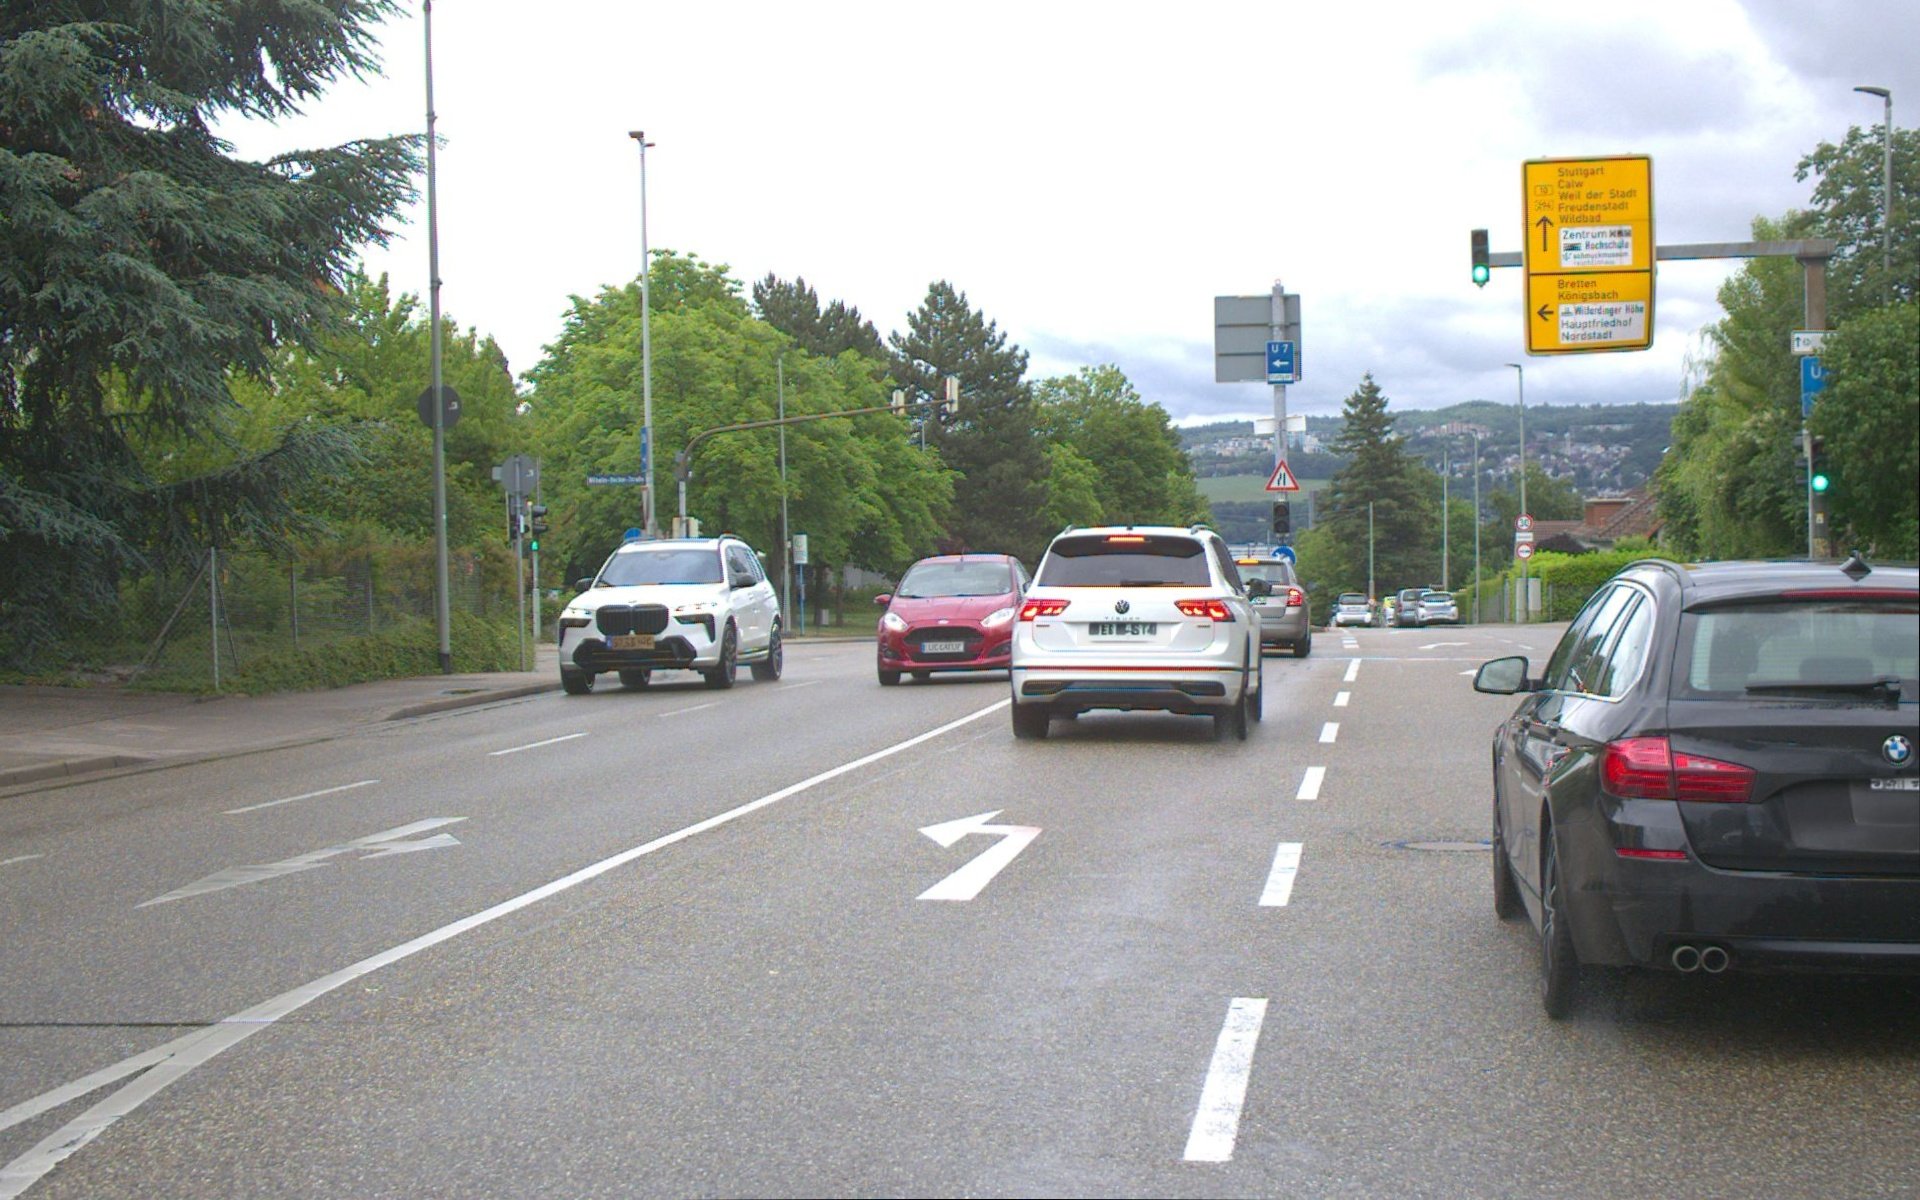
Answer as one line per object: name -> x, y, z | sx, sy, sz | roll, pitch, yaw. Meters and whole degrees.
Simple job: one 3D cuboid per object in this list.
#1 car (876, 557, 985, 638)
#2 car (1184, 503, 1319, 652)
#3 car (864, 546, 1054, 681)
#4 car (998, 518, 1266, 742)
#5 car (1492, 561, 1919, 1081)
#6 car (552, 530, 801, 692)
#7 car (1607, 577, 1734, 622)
car -> -0.548, -0.067, 67.359 | 1.632, 1.451, 3.701 | -3, 1, 7
car -> 4.280, -0.369, 50.098 | 1.811, 2.080, 3.849 | 0, 1, 7
car -> 0.034, 0.119, 40.001 | 1.681, 1.414, 3.840 | -3, 1, 7
car -> 1.459, 0.191, 27.732 | 1.869, 1.668, 3.999 | 0, 1, 7
car -> 2.850, 0.609, 11.680 | 1.899, 1.436, 3.999 | 1, 1, 7
car -> -3.366, 0.088, 41.884 | 1.918, 1.757, 5.142 | -3, 1, 7
car -> 22.913, -0.023, 110.932 | 3.989, 1.372, 1.584 | 1, 1, 11
